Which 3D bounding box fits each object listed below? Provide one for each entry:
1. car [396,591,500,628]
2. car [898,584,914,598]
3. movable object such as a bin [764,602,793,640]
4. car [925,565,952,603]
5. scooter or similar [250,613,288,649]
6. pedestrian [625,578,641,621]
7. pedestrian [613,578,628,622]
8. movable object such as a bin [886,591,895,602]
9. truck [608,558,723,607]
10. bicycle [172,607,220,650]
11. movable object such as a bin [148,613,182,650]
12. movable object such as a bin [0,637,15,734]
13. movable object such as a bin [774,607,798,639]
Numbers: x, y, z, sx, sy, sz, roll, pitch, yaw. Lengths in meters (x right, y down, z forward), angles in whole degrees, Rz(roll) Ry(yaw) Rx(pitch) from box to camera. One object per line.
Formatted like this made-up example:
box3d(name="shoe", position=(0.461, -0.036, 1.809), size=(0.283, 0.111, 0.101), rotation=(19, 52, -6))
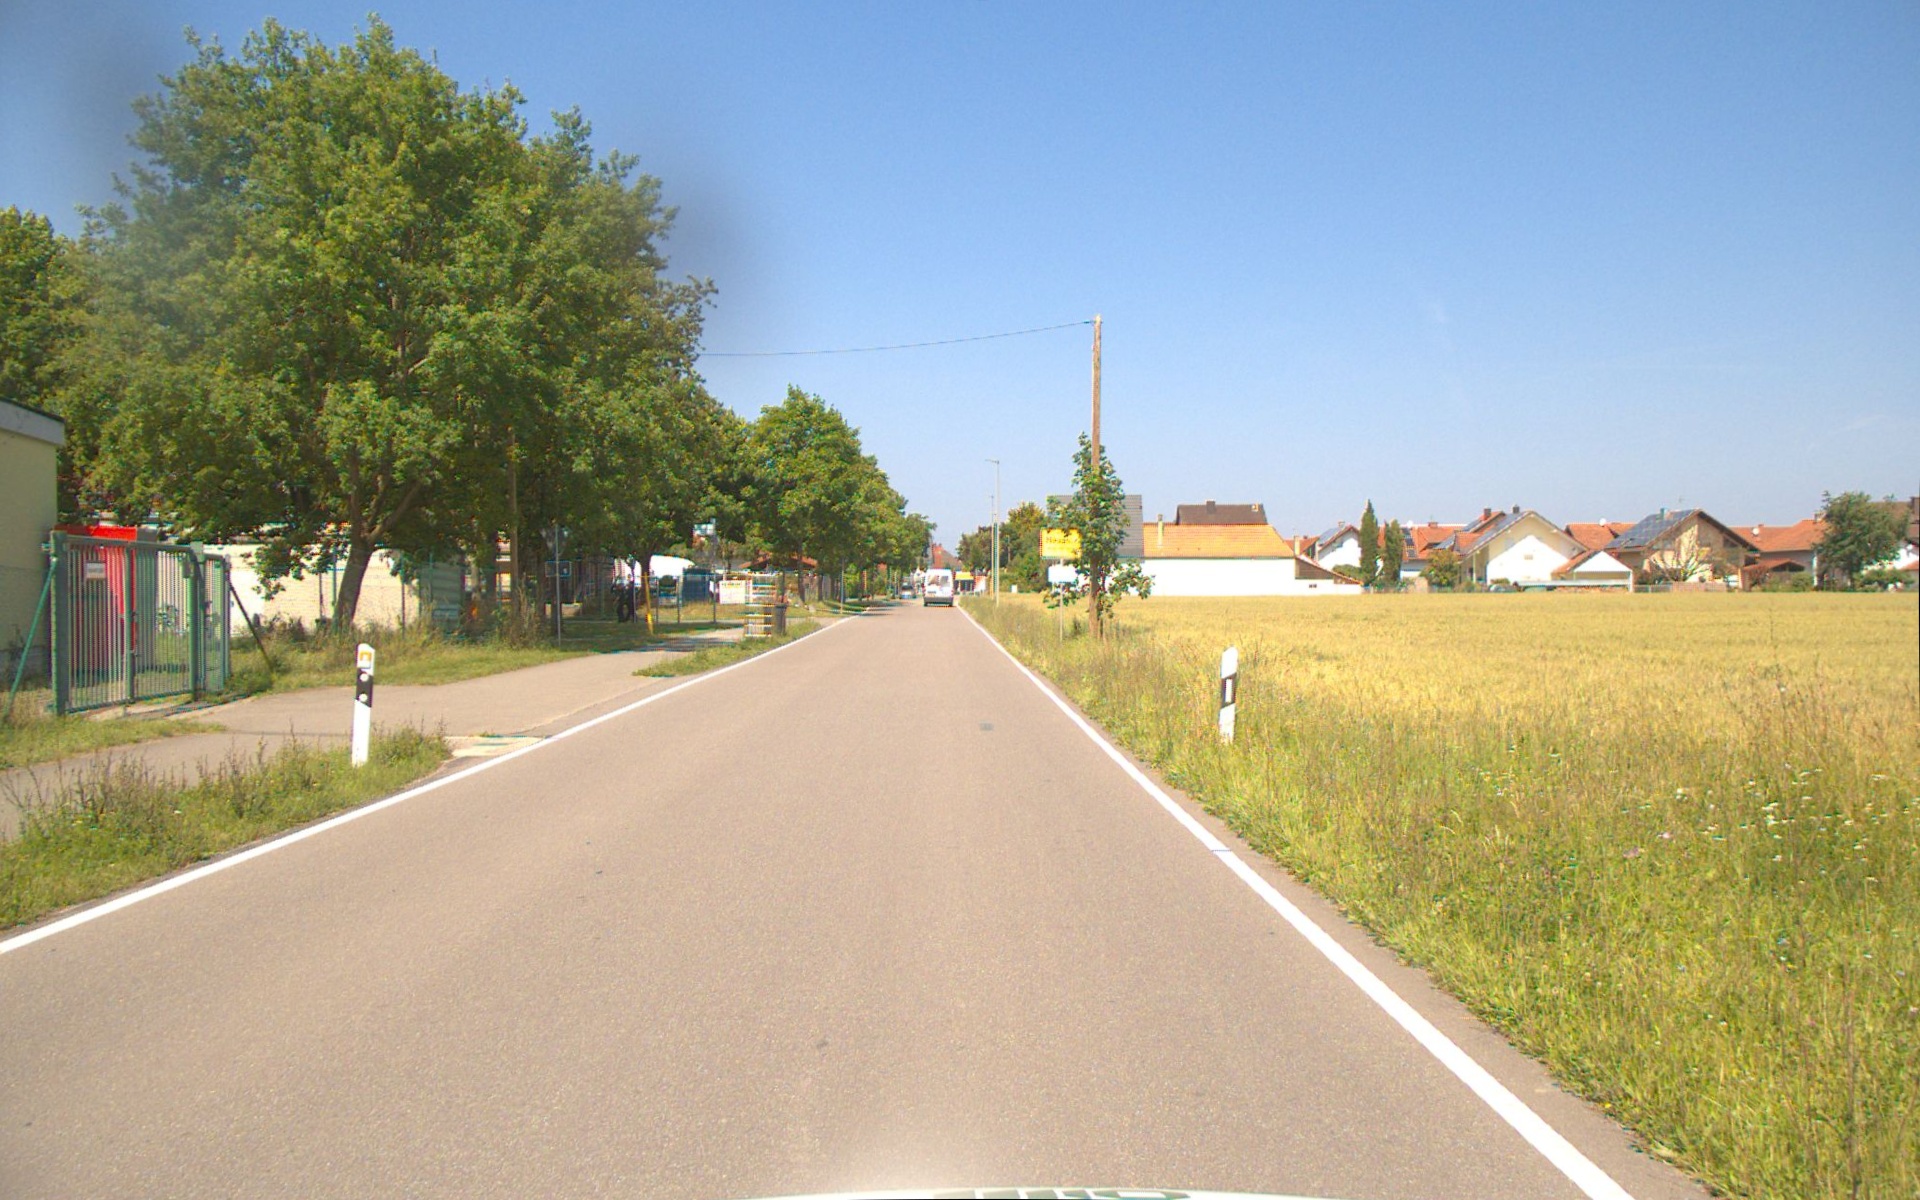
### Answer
box3d(name="car", position=(-20.521, 0.363, 66.374), size=(3.729, 1.423, 1.756), rotation=(-1, 0, -9))
box3d(name="car", position=(-5.651, -0.937, 173.554), size=(1.614, 1.448, 4.079), rotation=(-3, 0, -1))
box3d(name="movable object such as a bin", position=(-5.179, 0.595, 47.219), size=(0.684, 1.042, 0.748), rotation=(-1, 0, 7))
box3d(name="car", position=(-1.468, -1.090, 112.520), size=(1.702, 2.474, 4.373), rotation=(-1, 0, -2))
box3d(name="scooter or similar", position=(-20.162, 0.899, 48.250), size=(0.877, 1.015, 0.533), rotation=(-1, 0, -7))
box3d(name="pedestrian", position=(-13.630, -0.026, 68.958), size=(0.592, 1.781, 0.585), rotation=(-1, 0, -10))
box3d(name="pedestrian", position=(-13.995, -0.008, 68.173), size=(0.592, 1.781, 0.585), rotation=(-1, 0, -10))
box3d(name="movable object such as a bin", position=(-7.056, -0.354, 167.942), size=(0.699, 1.097, 0.639), rotation=(-1, 0, 26))
box3d(name="truck", position=(-15.688, -0.894, 88.231), size=(5.871, 2.527, 1.973), rotation=(0, 0, -38))
box3d(name="bicycle", position=(-22.971, 0.849, 49.725), size=(1.215, 1.234, 0.423), rotation=(-1, 0, -4))
box3d(name="movable object such as a bin", position=(-23.096, 0.916, 48.044), size=(0.681, 1.031, 0.663), rotation=(-1, 0, -5))
box3d(name="movable object such as a bin", position=(-8.992, 0.781, 14.837), size=(0.625, 0.869, 0.654), rotation=(-1, 0, 4))
box3d(name="movable object such as a bin", position=(-5.036, 0.668, 47.967), size=(0.550, 0.892, 0.614), rotation=(-1, 0, 7))
